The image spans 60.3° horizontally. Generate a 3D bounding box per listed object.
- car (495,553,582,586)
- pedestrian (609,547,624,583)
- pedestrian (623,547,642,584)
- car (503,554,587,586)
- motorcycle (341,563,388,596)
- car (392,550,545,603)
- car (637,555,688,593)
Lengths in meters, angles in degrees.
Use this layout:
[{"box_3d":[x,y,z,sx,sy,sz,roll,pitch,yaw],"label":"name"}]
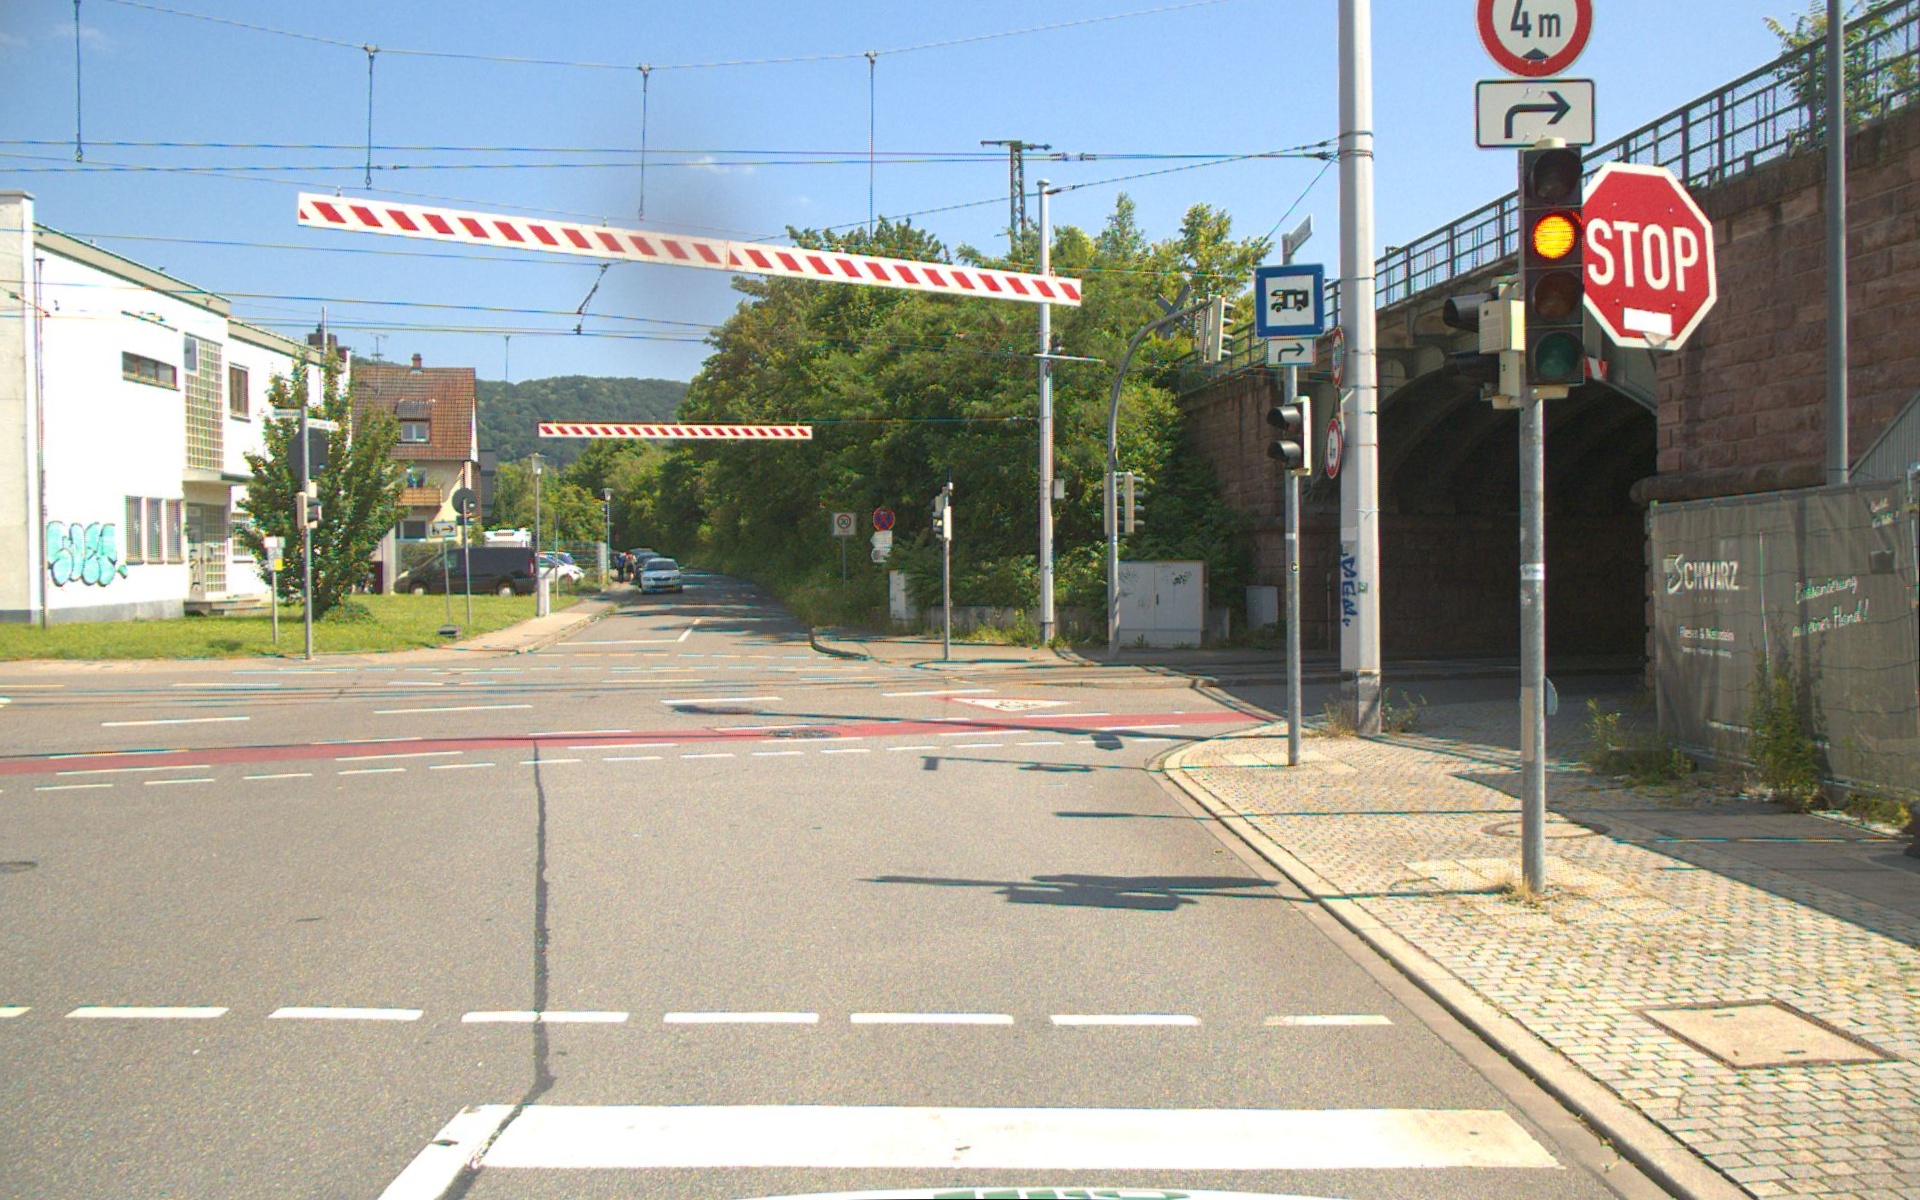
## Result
[{"box_3d":[-19.127,-1.369,75.127,3.650,1.395,1.601,1,0,-8],"label":"car"},{"box_3d":[-17.123,-1.736,82.412,0.642,1.793,0.802,1,-1,-10],"label":"pedestrian"},{"box_3d":[-16.302,-1.700,82.333,0.860,1.793,0.729,1,-1,-10],"label":"pedestrian"},{"box_3d":[-19.425,-1.381,77.541,3.650,1.395,1.602,1,0,-8],"label":"car"},{"box_3d":[-19.642,-0.665,54.581,0.835,1.050,2.564,1,0,-6],"label":"motorcycle"},{"box_3d":[-18.043,-0.878,60.927,5.153,1.847,1.995,-1,1,-11],"label":"car"},{"box_3d":[-13.008,-1.149,72.545,2.048,1.536,4.531,1,2,-9],"label":"car"}]
